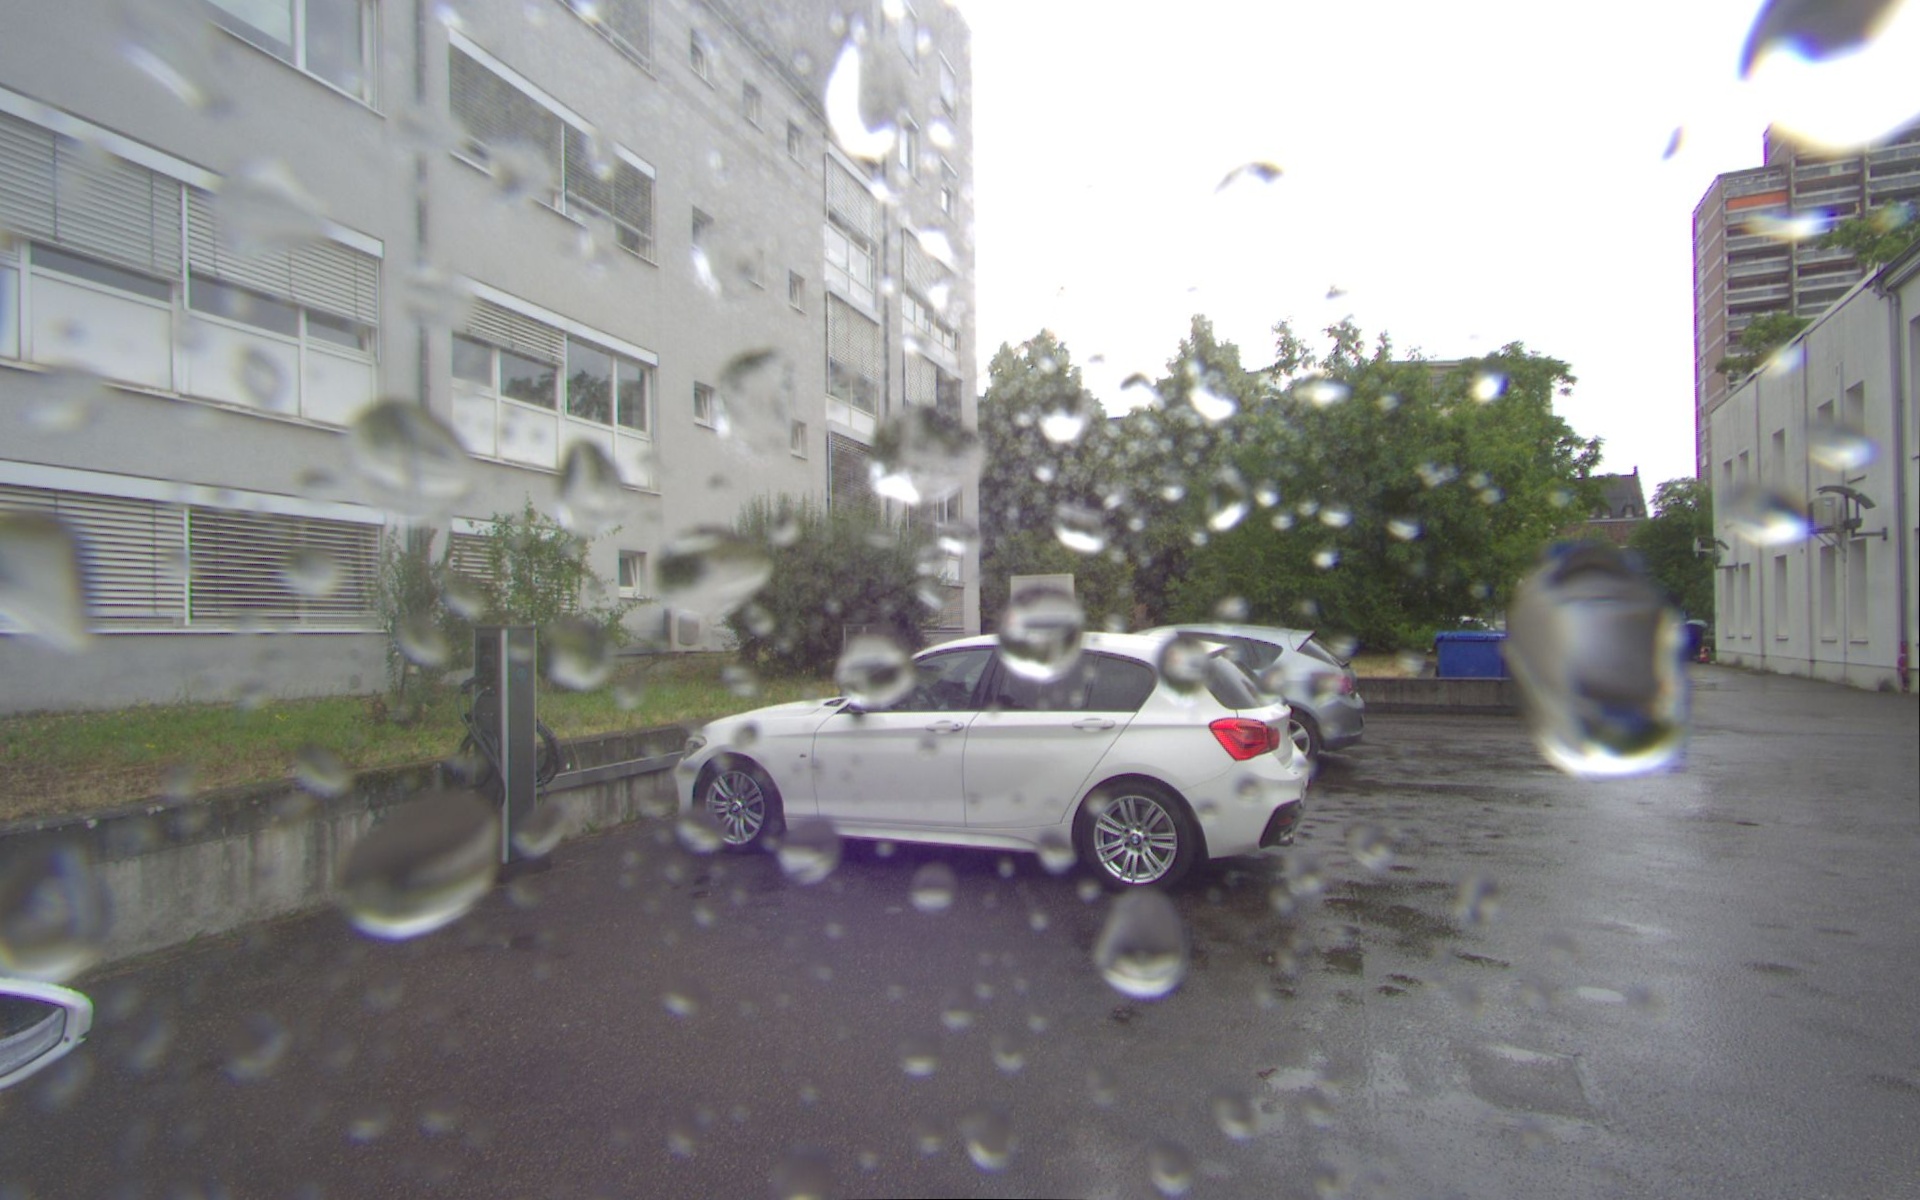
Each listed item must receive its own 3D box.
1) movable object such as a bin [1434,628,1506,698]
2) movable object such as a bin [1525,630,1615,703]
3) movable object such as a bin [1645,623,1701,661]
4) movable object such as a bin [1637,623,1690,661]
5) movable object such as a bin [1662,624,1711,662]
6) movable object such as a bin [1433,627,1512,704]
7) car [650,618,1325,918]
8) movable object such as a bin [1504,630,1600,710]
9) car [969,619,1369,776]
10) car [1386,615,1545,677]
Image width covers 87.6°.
[{"bbox_3d":[10.540,1.320,20.773,1.214,1.374,1.965,-3,-4,26],"label":"movable object such as a bin"},{"bbox_3d":[12.075,1.331,19.913,1.293,1.374,1.900,-3,-4,26],"label":"movable object such as a bin"},{"bbox_3d":[28.603,1.702,40.207,1.467,1.466,1.312,-2,-4,21],"label":"movable object such as a bin"},{"bbox_3d":[29.102,1.754,41.457,1.467,1.466,1.312,-2,-4,21],"label":"movable object such as a bin"},{"bbox_3d":[28.068,1.672,38.698,1.168,1.390,1.312,-2,-4,21],"label":"movable object such as a bin"},{"bbox_3d":[9.675,1.249,18.978,1.214,1.374,1.965,-3,-4,26],"label":"movable object such as a bin"},{"bbox_3d":[0.222,0.933,6.796,4.150,1.508,1.996,-1,-2,23],"label":"car"},{"bbox_3d":[10.817,1.283,18.389,1.293,1.374,1.900,-3,-4,26],"label":"movable object such as a bin"},{"bbox_3d":[2.393,1.024,11.383,4.150,1.508,1.996,-1,-2,23],"label":"car"},{"bbox_3d":[17.102,1.626,34.016,4.627,1.904,2.116,-3,-5,29],"label":"car"}]
